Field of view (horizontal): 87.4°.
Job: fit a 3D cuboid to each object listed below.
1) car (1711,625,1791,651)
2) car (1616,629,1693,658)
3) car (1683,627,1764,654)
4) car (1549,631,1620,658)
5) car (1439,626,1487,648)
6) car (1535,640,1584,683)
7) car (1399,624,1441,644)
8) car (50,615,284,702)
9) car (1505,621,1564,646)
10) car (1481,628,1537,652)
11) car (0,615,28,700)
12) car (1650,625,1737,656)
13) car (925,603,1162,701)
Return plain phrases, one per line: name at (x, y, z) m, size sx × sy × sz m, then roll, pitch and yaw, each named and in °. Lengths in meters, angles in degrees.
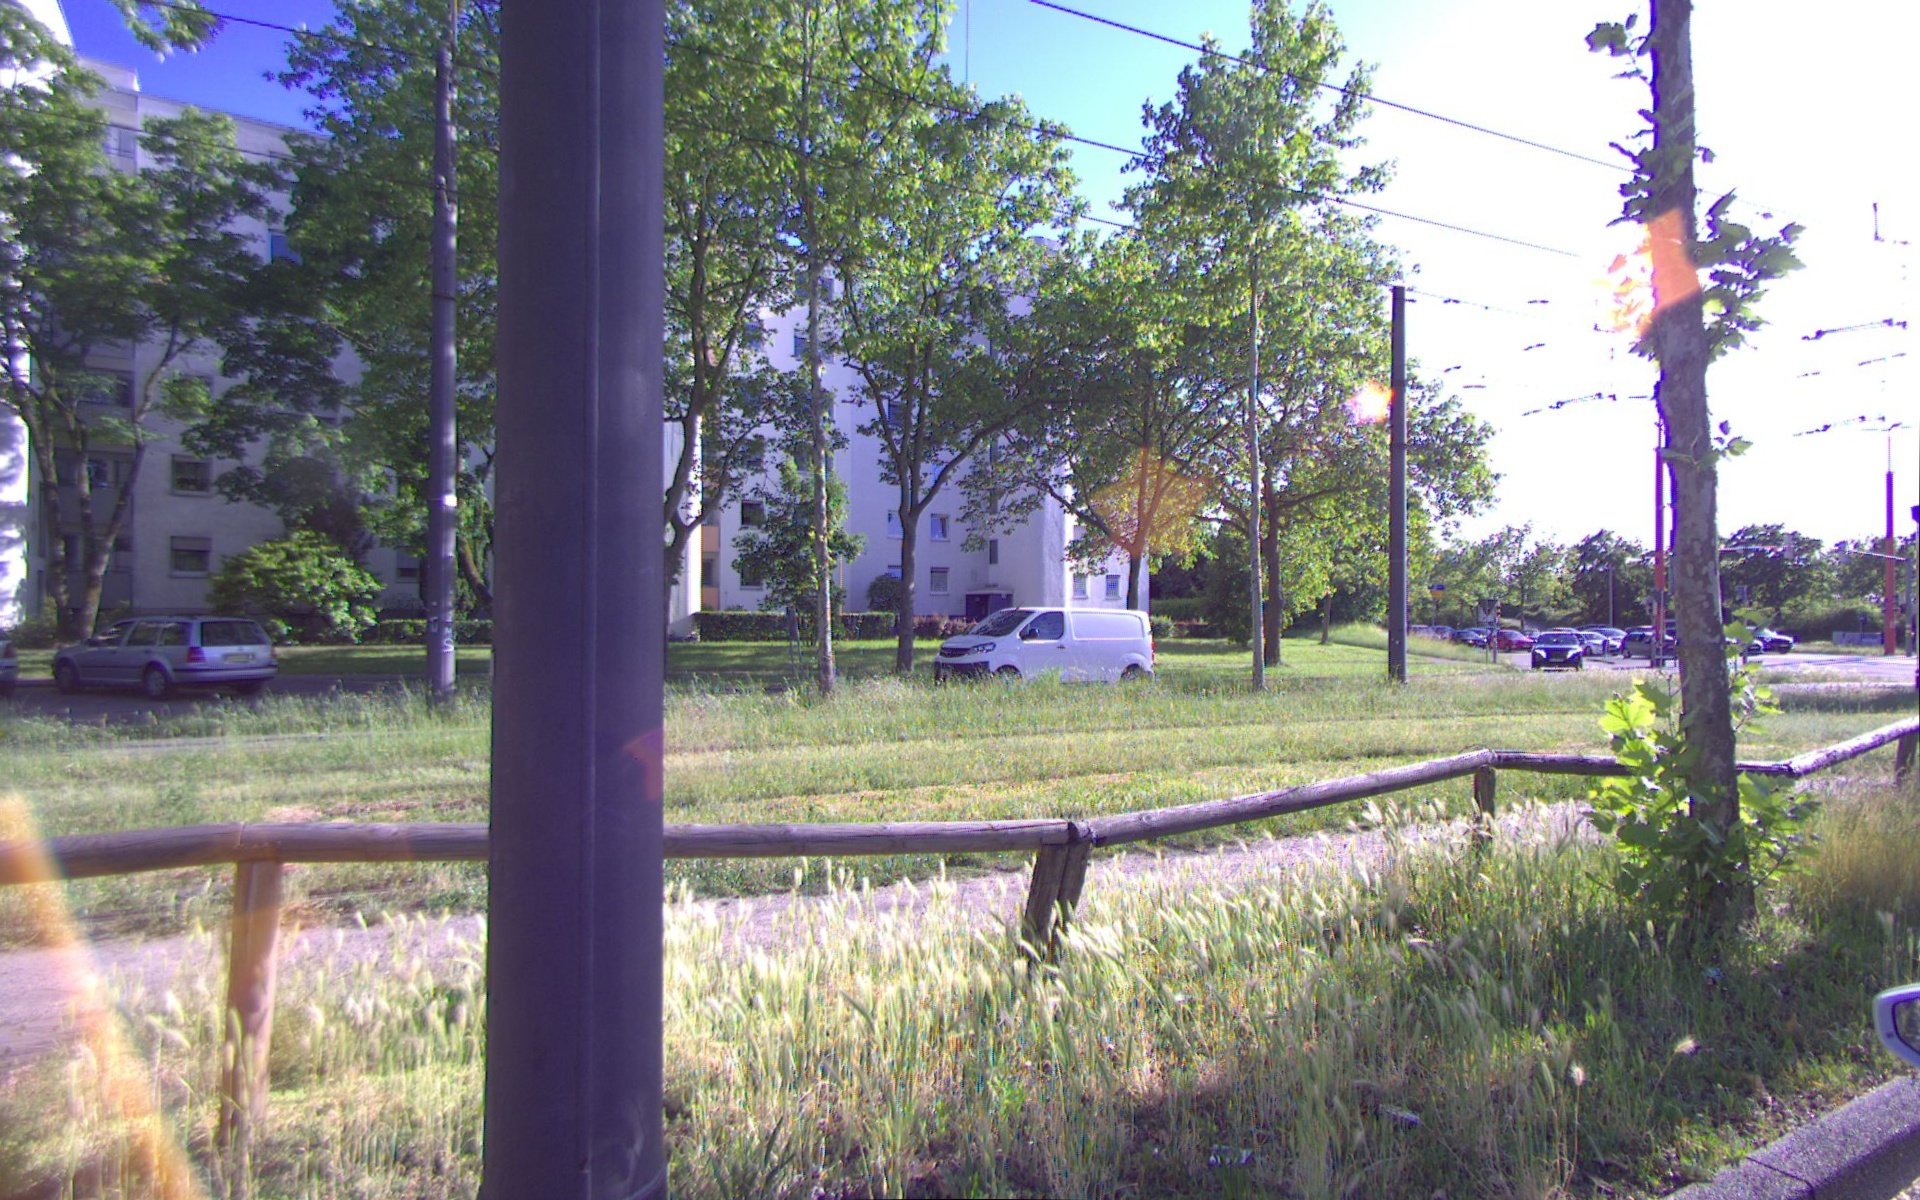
car at (48.648, 2.326, 61.893) m, size 1.513 × 1.434 × 4.154 m, roll 1°, pitch -1°, yaw -3°
car at (38.961, 2.411, 56.445) m, size 1.624 × 1.460 × 3.841 m, roll 1°, pitch -1°, yaw -2°
car at (45.570, 2.396, 60.060) m, size 1.513 × 1.434 × 4.154 m, roll 1°, pitch -1°, yaw -3°
car at (38.914, 2.759, 62.732) m, size 1.624 × 1.540 × 4.638 m, roll 1°, pitch -1°, yaw 1°
car at (38.655, 2.821, 77.251) m, size 1.624 × 1.540 × 4.200 m, roll 1°, pitch -1°, yaw 1°
car at (25.861, 2.592, 43.286) m, size 1.628 × 1.640 × 4.283 m, roll 1°, pitch -1°, yaw 33°
car at (38.638, 2.821, 84.390) m, size 1.624 × 1.540 × 4.200 m, roll 1°, pitch -1°, yaw 1°
car at (-14.538, 1.012, 18.424) m, size 3.830 × 1.421 × 1.581 m, roll 1°, pitch 0°, yaw 20°
car at (42.264, 2.436, 74.067) m, size 1.721 × 1.669 × 4.644 m, roll 1°, pitch -1°, yaw 1°
car at (38.443, 2.781, 70.448) m, size 1.624 × 1.540 × 4.200 m, roll 1°, pitch -1°, yaw 1°
car at (-17.987, 0.949, 17.150) m, size 3.567 × 1.421 × 1.581 m, roll 1°, pitch 0°, yaw 20°
car at (42.323, 2.312, 58.102) m, size 1.624 × 1.669 × 4.644 m, roll 1°, pitch -1°, yaw 1°
car at (1.817, 1.035, 21.036) m, size 4.849 × 1.845 × 1.817 m, roll 1°, pitch -1°, yaw -33°
